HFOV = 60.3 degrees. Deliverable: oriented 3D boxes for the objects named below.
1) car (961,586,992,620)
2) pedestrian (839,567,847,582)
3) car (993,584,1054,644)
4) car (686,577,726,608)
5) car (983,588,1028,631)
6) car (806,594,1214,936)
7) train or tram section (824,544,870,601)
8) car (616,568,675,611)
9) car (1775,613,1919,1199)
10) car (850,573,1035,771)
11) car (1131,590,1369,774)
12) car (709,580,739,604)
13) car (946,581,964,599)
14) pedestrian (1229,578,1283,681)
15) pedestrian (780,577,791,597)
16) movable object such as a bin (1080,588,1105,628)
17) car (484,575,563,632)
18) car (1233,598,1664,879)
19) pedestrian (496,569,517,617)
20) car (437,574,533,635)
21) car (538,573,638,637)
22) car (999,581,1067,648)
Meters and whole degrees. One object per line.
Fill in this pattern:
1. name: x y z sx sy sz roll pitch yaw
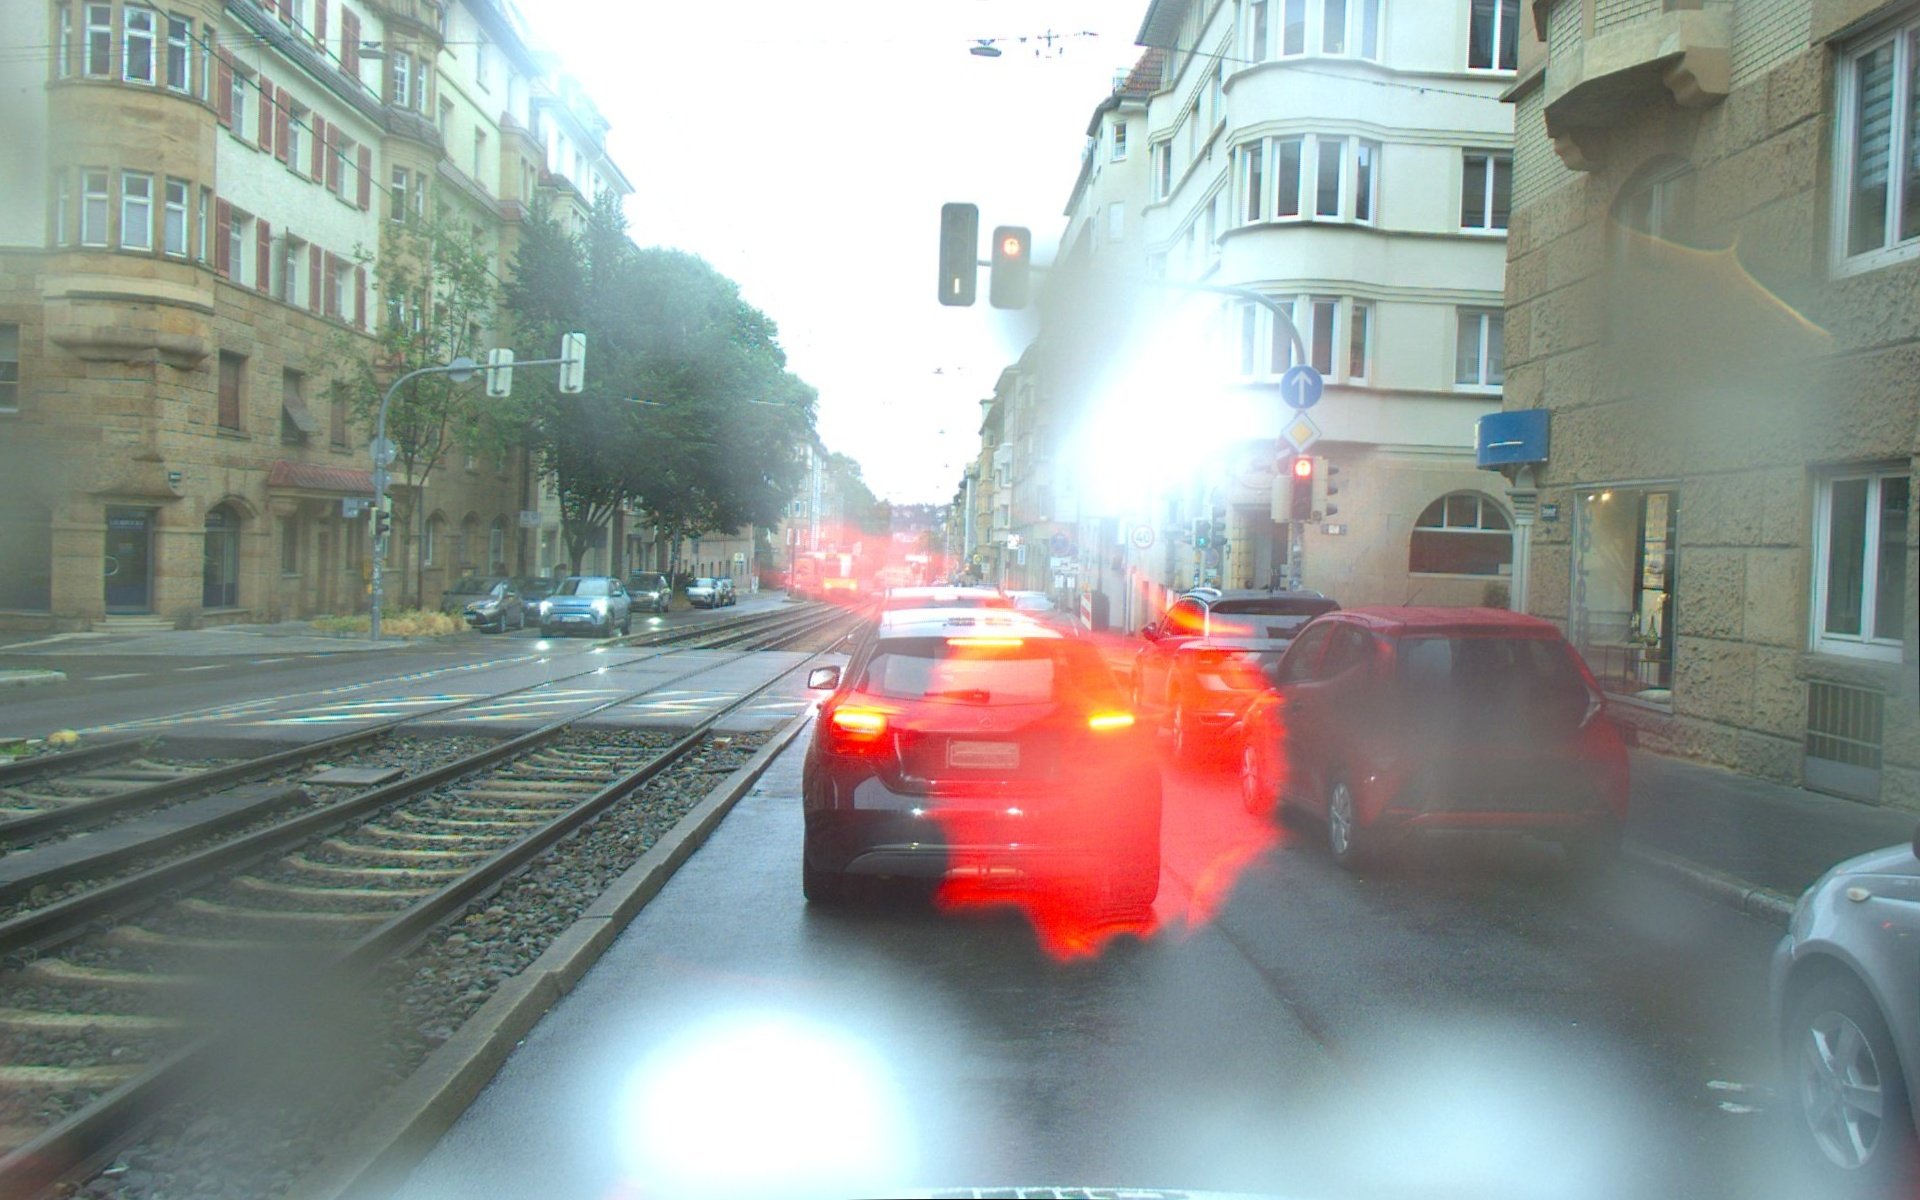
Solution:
1. car: 0.725 0.128 73.597 1.268 1.467 2.928 1 0 -1
2. pedestrian: -15.741 -3.373 222.572 1.031 1.992 1.043 2 0 0
3. car: 1.771 0.375 47.131 1.513 1.618 3.547 1 0 -1
4. car: -13.655 -0.388 88.957 1.557 1.608 3.917 1 0 -1
5. car: 1.666 0.323 61.540 1.513 1.512 3.547 1 0 -1
6. car: 0.194 0.732 9.442 1.792 1.483 4.103 1 0 -1
7. train or tram section: -8.249 -1.917 122.033 2.726 3.928 10.427 1 0 -1
8. car: -13.560 -0.416 71.496 1.837 1.767 3.917 1 0 -1
9. car: 3.126 0.788 3.092 1.581 1.493 3.312 0 0 0
10. car: -0.173 0.617 15.825 1.533 1.637 3.813 1 0 -1
11. car: 2.633 0.677 15.787 1.513 1.512 3.829 1 0 -1
12. car: -14.023 -0.444 98.362 1.419 1.354 3.270 1 0 -3
13. car: -0.441 -0.907 150.140 1.513 1.664 3.685 1 0 -2
14. pedestrian: 5.211 0.518 29.187 0.726 1.778 1.111 1 -1 -1
15. pedestrian: -18.280 -1.344 173.417 1.031 1.992 1.043 2 0 0
16. movable object such as a bin: 4.766 0.300 59.634 0.859 1.413 0.983 1 -1 3
17. car: -13.274 0.106 50.513 1.683 1.639 3.914 1 0 -5
18. car: 2.909 0.749 10.552 1.609 1.473 3.297 1 0 -3
19. pedestrian: -16.399 -0.256 59.770 0.619 1.702 0.701 1 -1 -8
20. car: -13.010 0.125 45.486 1.718 1.579 4.032 1 0 -4
21. car: -10.045 0.142 44.917 1.860 1.615 3.972 1 0 -1
22. car: 1.841 0.348 42.657 1.513 1.618 3.547 1 0 -1
